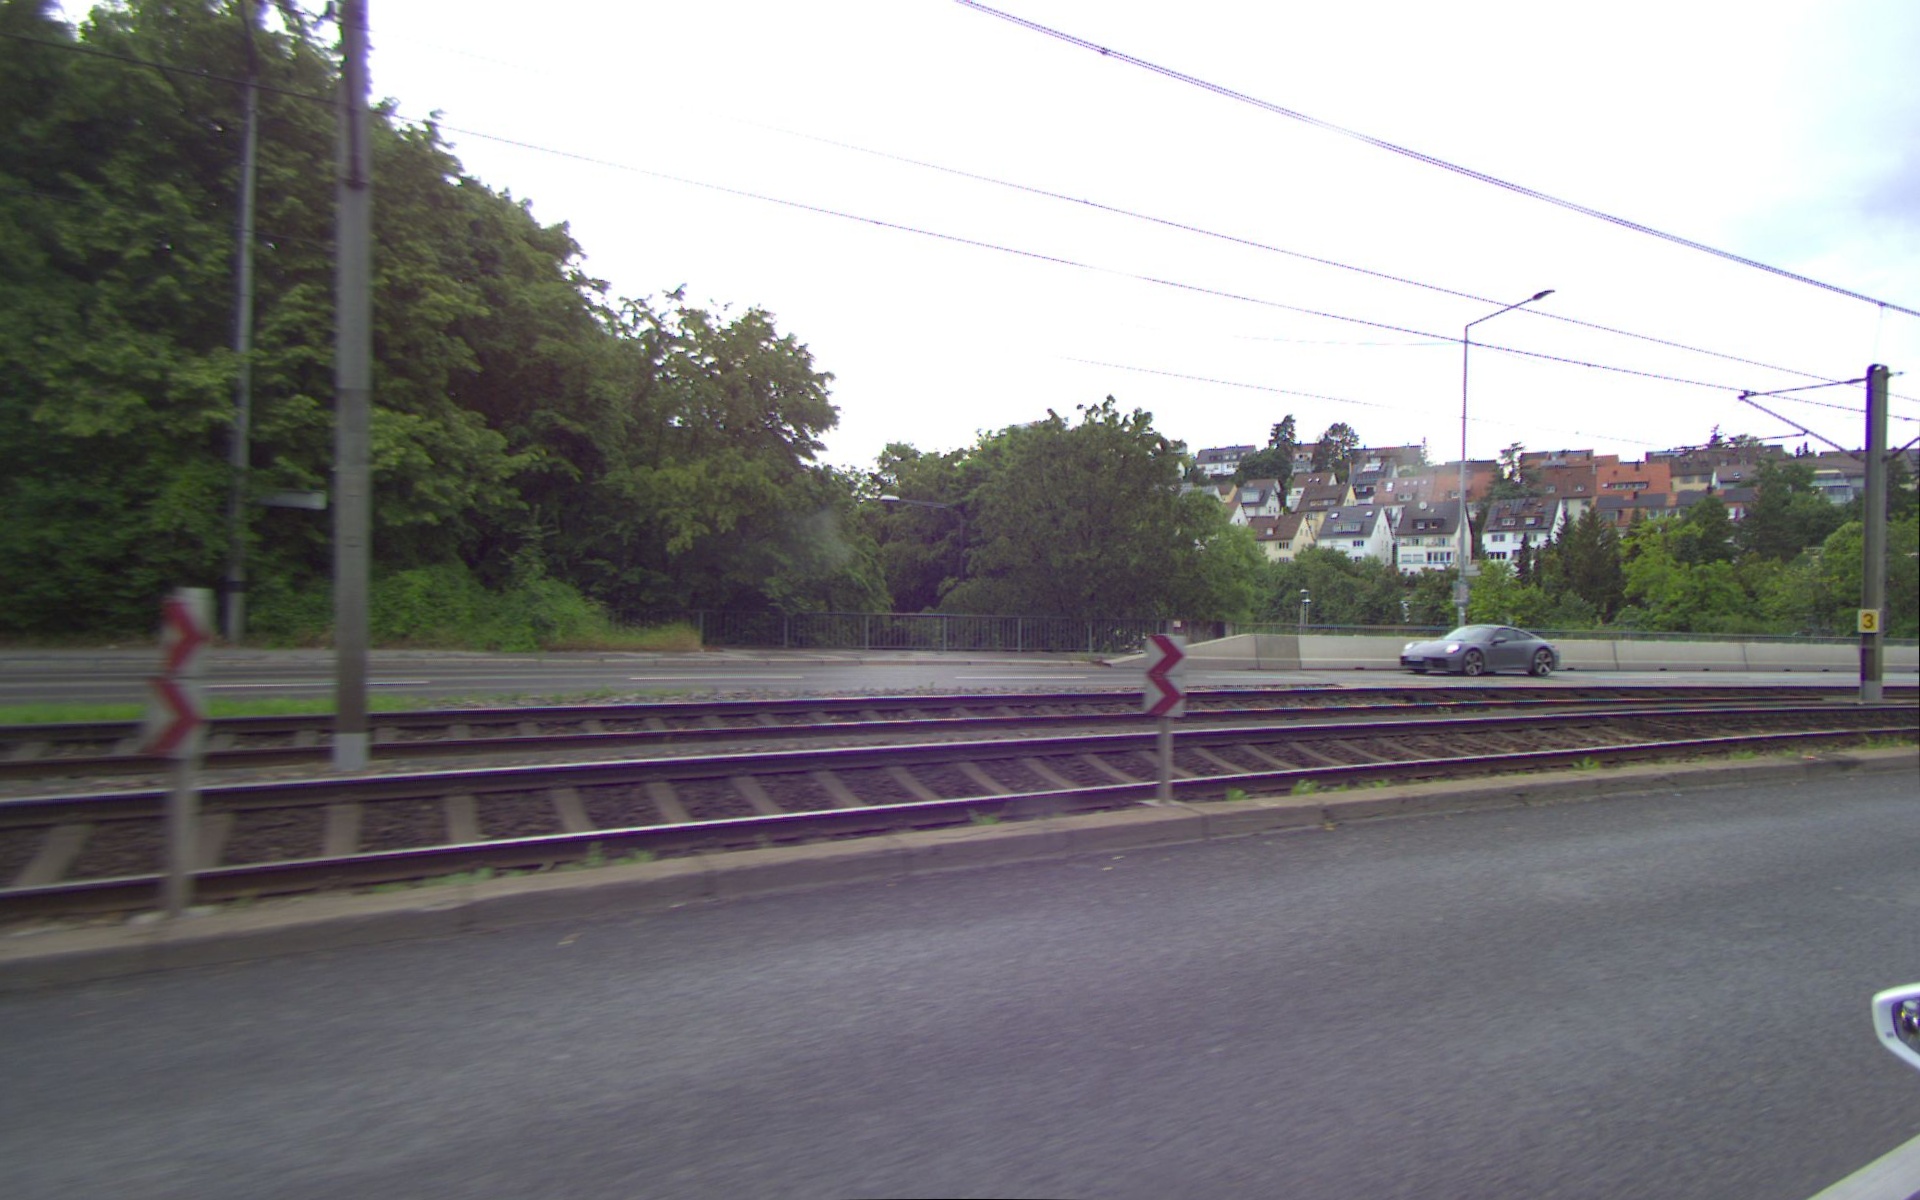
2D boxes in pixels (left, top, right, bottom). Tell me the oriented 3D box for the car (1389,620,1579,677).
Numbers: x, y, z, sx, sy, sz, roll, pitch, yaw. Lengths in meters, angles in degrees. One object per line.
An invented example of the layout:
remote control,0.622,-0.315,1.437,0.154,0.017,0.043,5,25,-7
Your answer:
car,13.666,1.255,26.195,4.550,1.331,1.834,2,-1,-21
